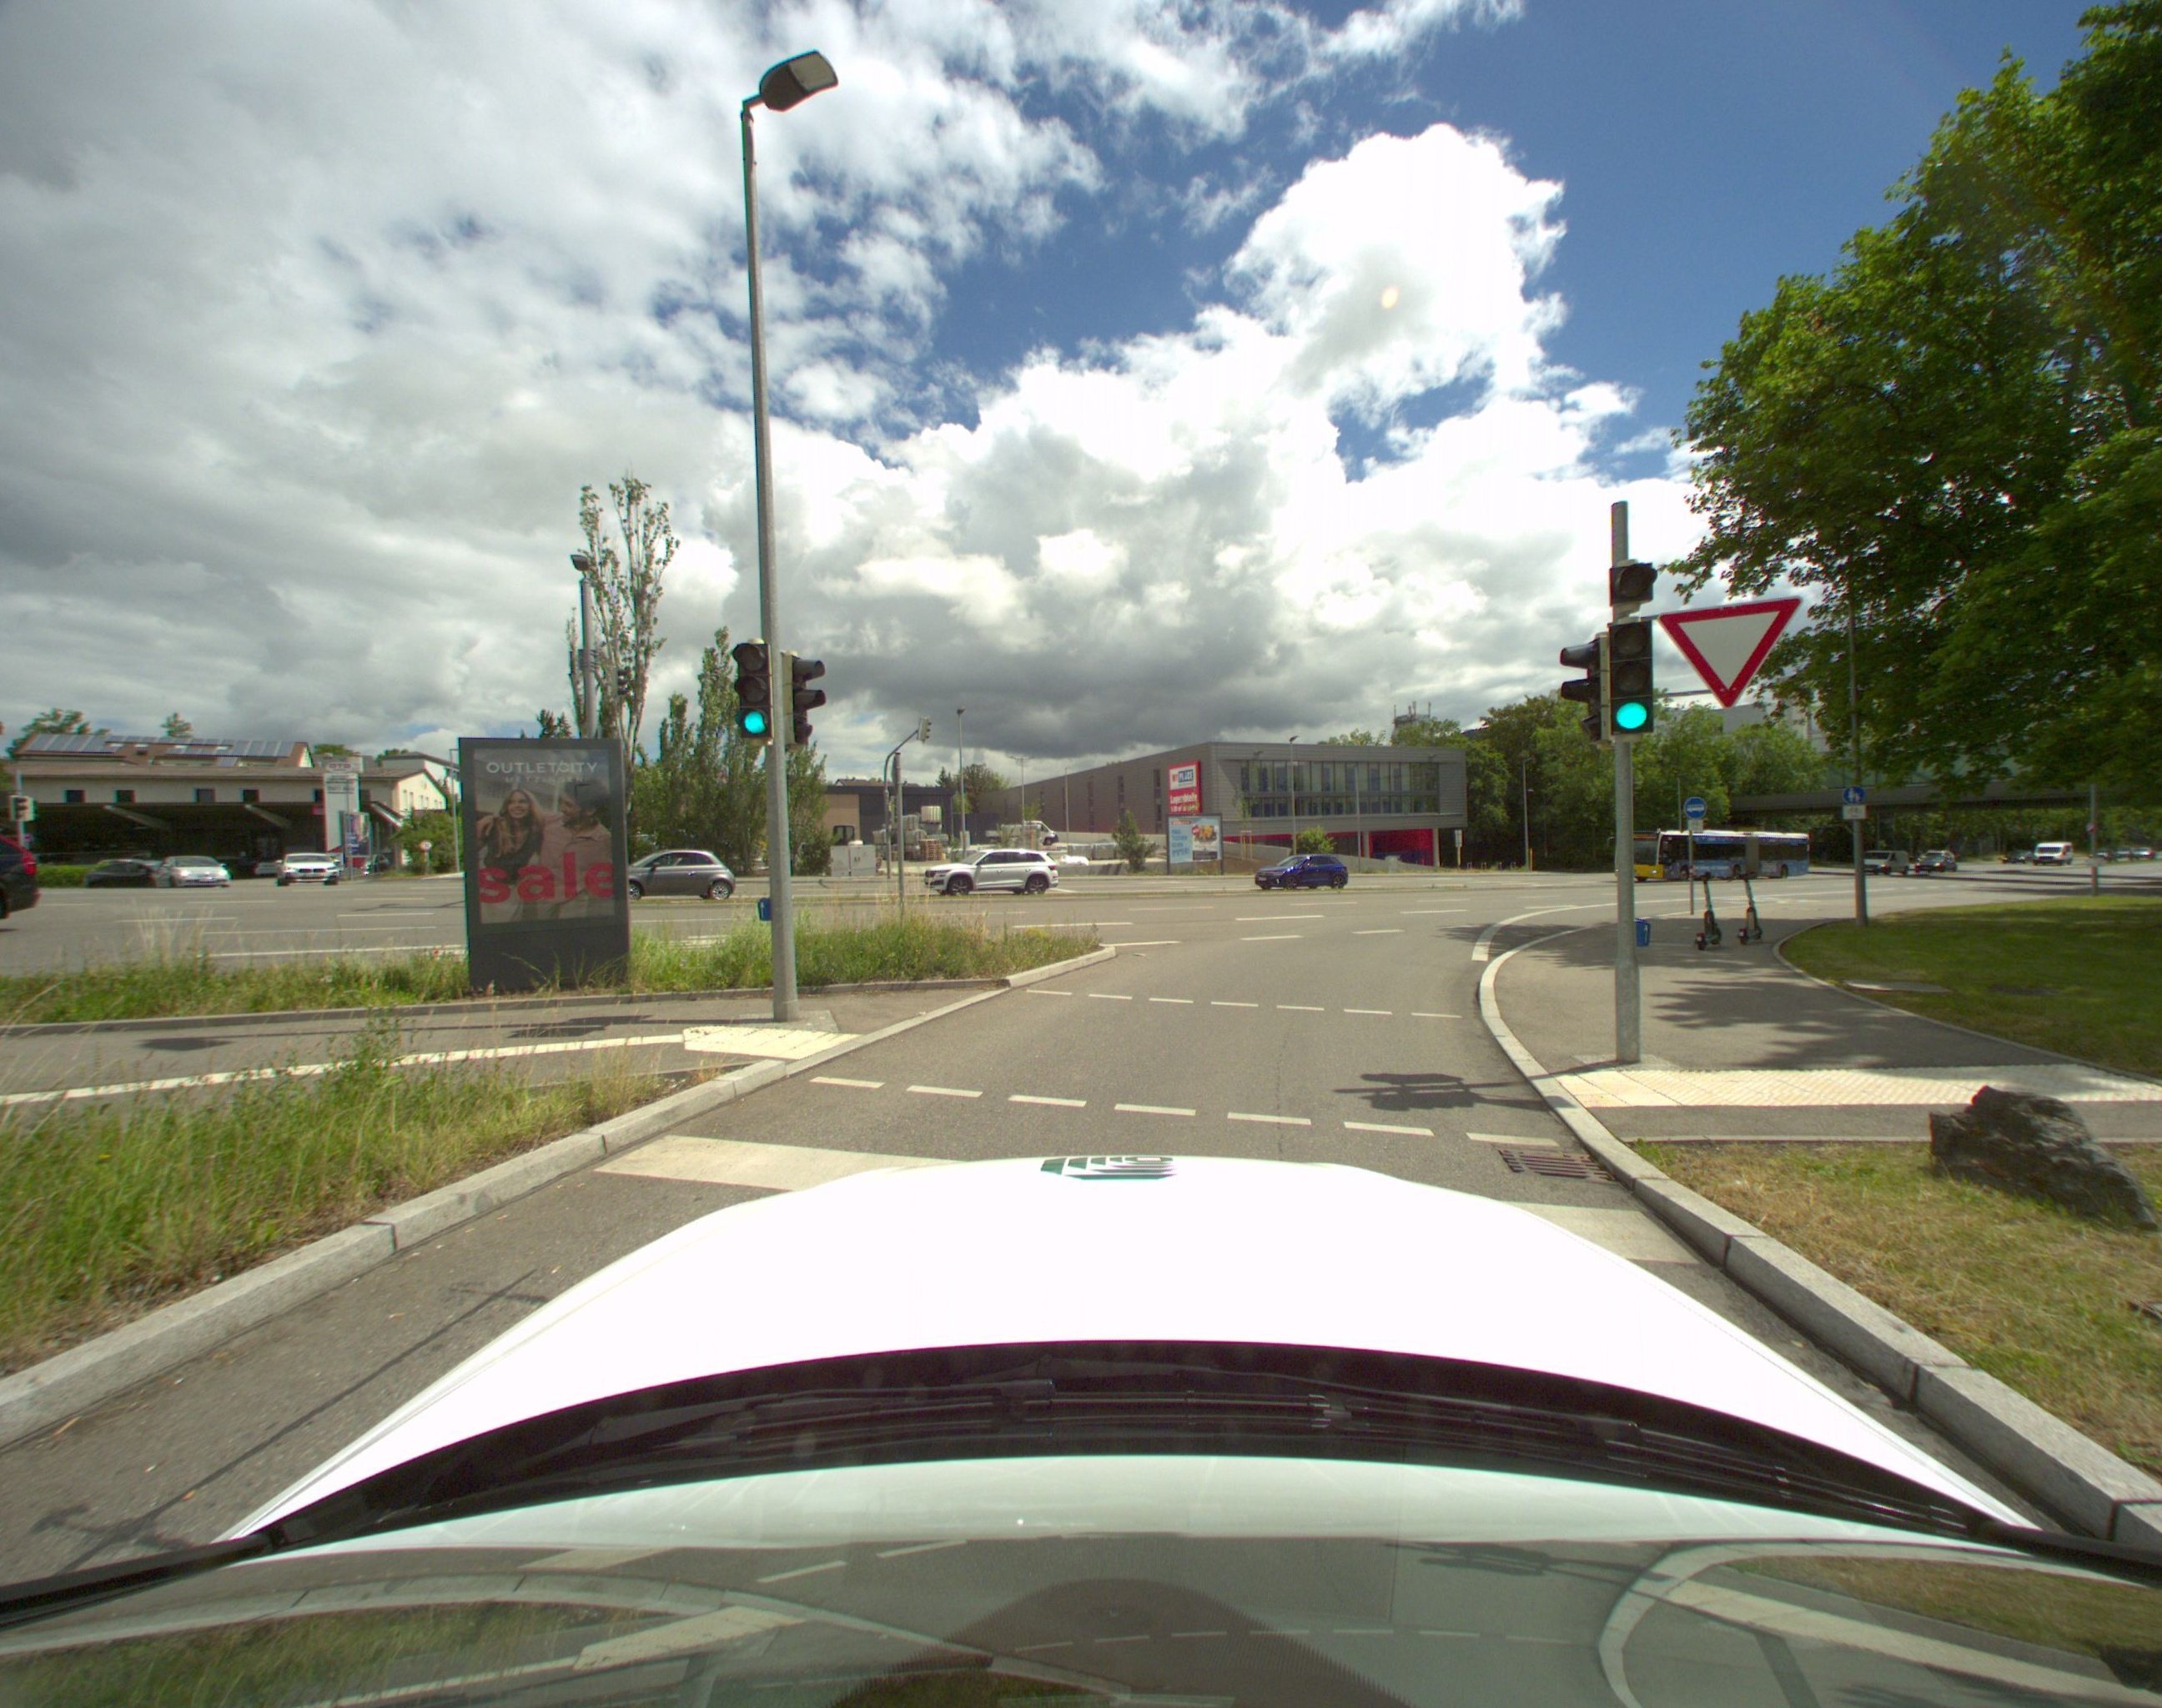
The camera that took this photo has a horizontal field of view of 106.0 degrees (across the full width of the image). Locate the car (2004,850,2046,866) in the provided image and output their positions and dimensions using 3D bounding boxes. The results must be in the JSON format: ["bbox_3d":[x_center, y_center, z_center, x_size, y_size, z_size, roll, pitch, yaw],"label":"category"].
[{"bbox_3d":[107.647,0.496,92.864,4.003,1.750,1.985,1,-1,-22],"label":"car"}]

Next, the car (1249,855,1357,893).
[{"bbox_3d":[9.497,0.799,34.825,4.405,1.511,1.796,0,1,-26],"label":"car"}]

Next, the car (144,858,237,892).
[{"bbox_3d":[-38.354,0.875,35.063,3.950,1.400,1.707,0,0,27],"label":"car"}]

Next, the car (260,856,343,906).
[{"bbox_3d":[-35.542,1.228,37.122,3.948,2.013,2.013,-2,2,37],"label":"car"}]

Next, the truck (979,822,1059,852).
[{"bbox_3d":[-5.354,-1.483,70.060,6.565,2.145,1.992,-4,2,-13],"label":"truck"}]

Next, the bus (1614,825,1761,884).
[{"bbox_3d":[36.200,0.055,48.493,10.140,3.285,2.800,1,0,-27],"label":"bus"}]

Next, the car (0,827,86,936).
[{"bbox_3d":[-17.993,0.415,11.304,1.894,1.689,4.993,1,0,7],"label":"car"}]

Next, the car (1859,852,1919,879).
[{"bbox_3d":[61.405,0.833,61.908,4.761,1.924,1.867,0,1,-27],"label":"car"}]

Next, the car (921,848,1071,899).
[{"bbox_3d":[-2.923,0.609,28.287,4.913,1.658,1.718,0,1,-28],"label":"car"}]

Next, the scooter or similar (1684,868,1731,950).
[{"bbox_3d":[10.262,0.879,13.332,0.527,1.264,1.197,-2,-2,40],"label":"scooter or similar"}]

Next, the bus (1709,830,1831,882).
[{"bbox_3d":[44.720,0.092,52.776,8.925,3.164,2.800,0,1,-27],"label":"bus"}]

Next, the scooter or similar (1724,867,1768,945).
[{"bbox_3d":[11.486,0.872,14.072,0.527,1.264,1.197,-2,-2,40],"label":"scooter or similar"}]

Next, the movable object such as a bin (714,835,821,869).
[{"bbox_3d":[-22.848,-0.179,59.612,6.934,2.013,2.285,-4,2,-14],"label":"movable object such as a bin"}]

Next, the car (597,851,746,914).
[{"bbox_3d":[-11.622,0.742,23.190,3.540,1.460,1.568,-4,2,-35],"label":"car"}]

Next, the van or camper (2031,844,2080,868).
[{"bbox_3d":[105.387,0.211,88.046,6.412,2.401,1.997,-2,1,-27],"label":"van or camper"}]

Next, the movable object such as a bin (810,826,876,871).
[{"bbox_3d":[-13.738,-0.322,47.199,3.403,2.538,2.146,0,0,-9],"label":"movable object such as a bin"}]

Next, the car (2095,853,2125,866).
[{"bbox_3d":[120.868,0.617,95.671,3.081,1.521,1.691,0,0,-28],"label":"car"}]

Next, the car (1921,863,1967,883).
[{"bbox_3d":[71.091,1.548,67.066,3.784,1.471,1.628,0,1,-27],"label":"car"}]
